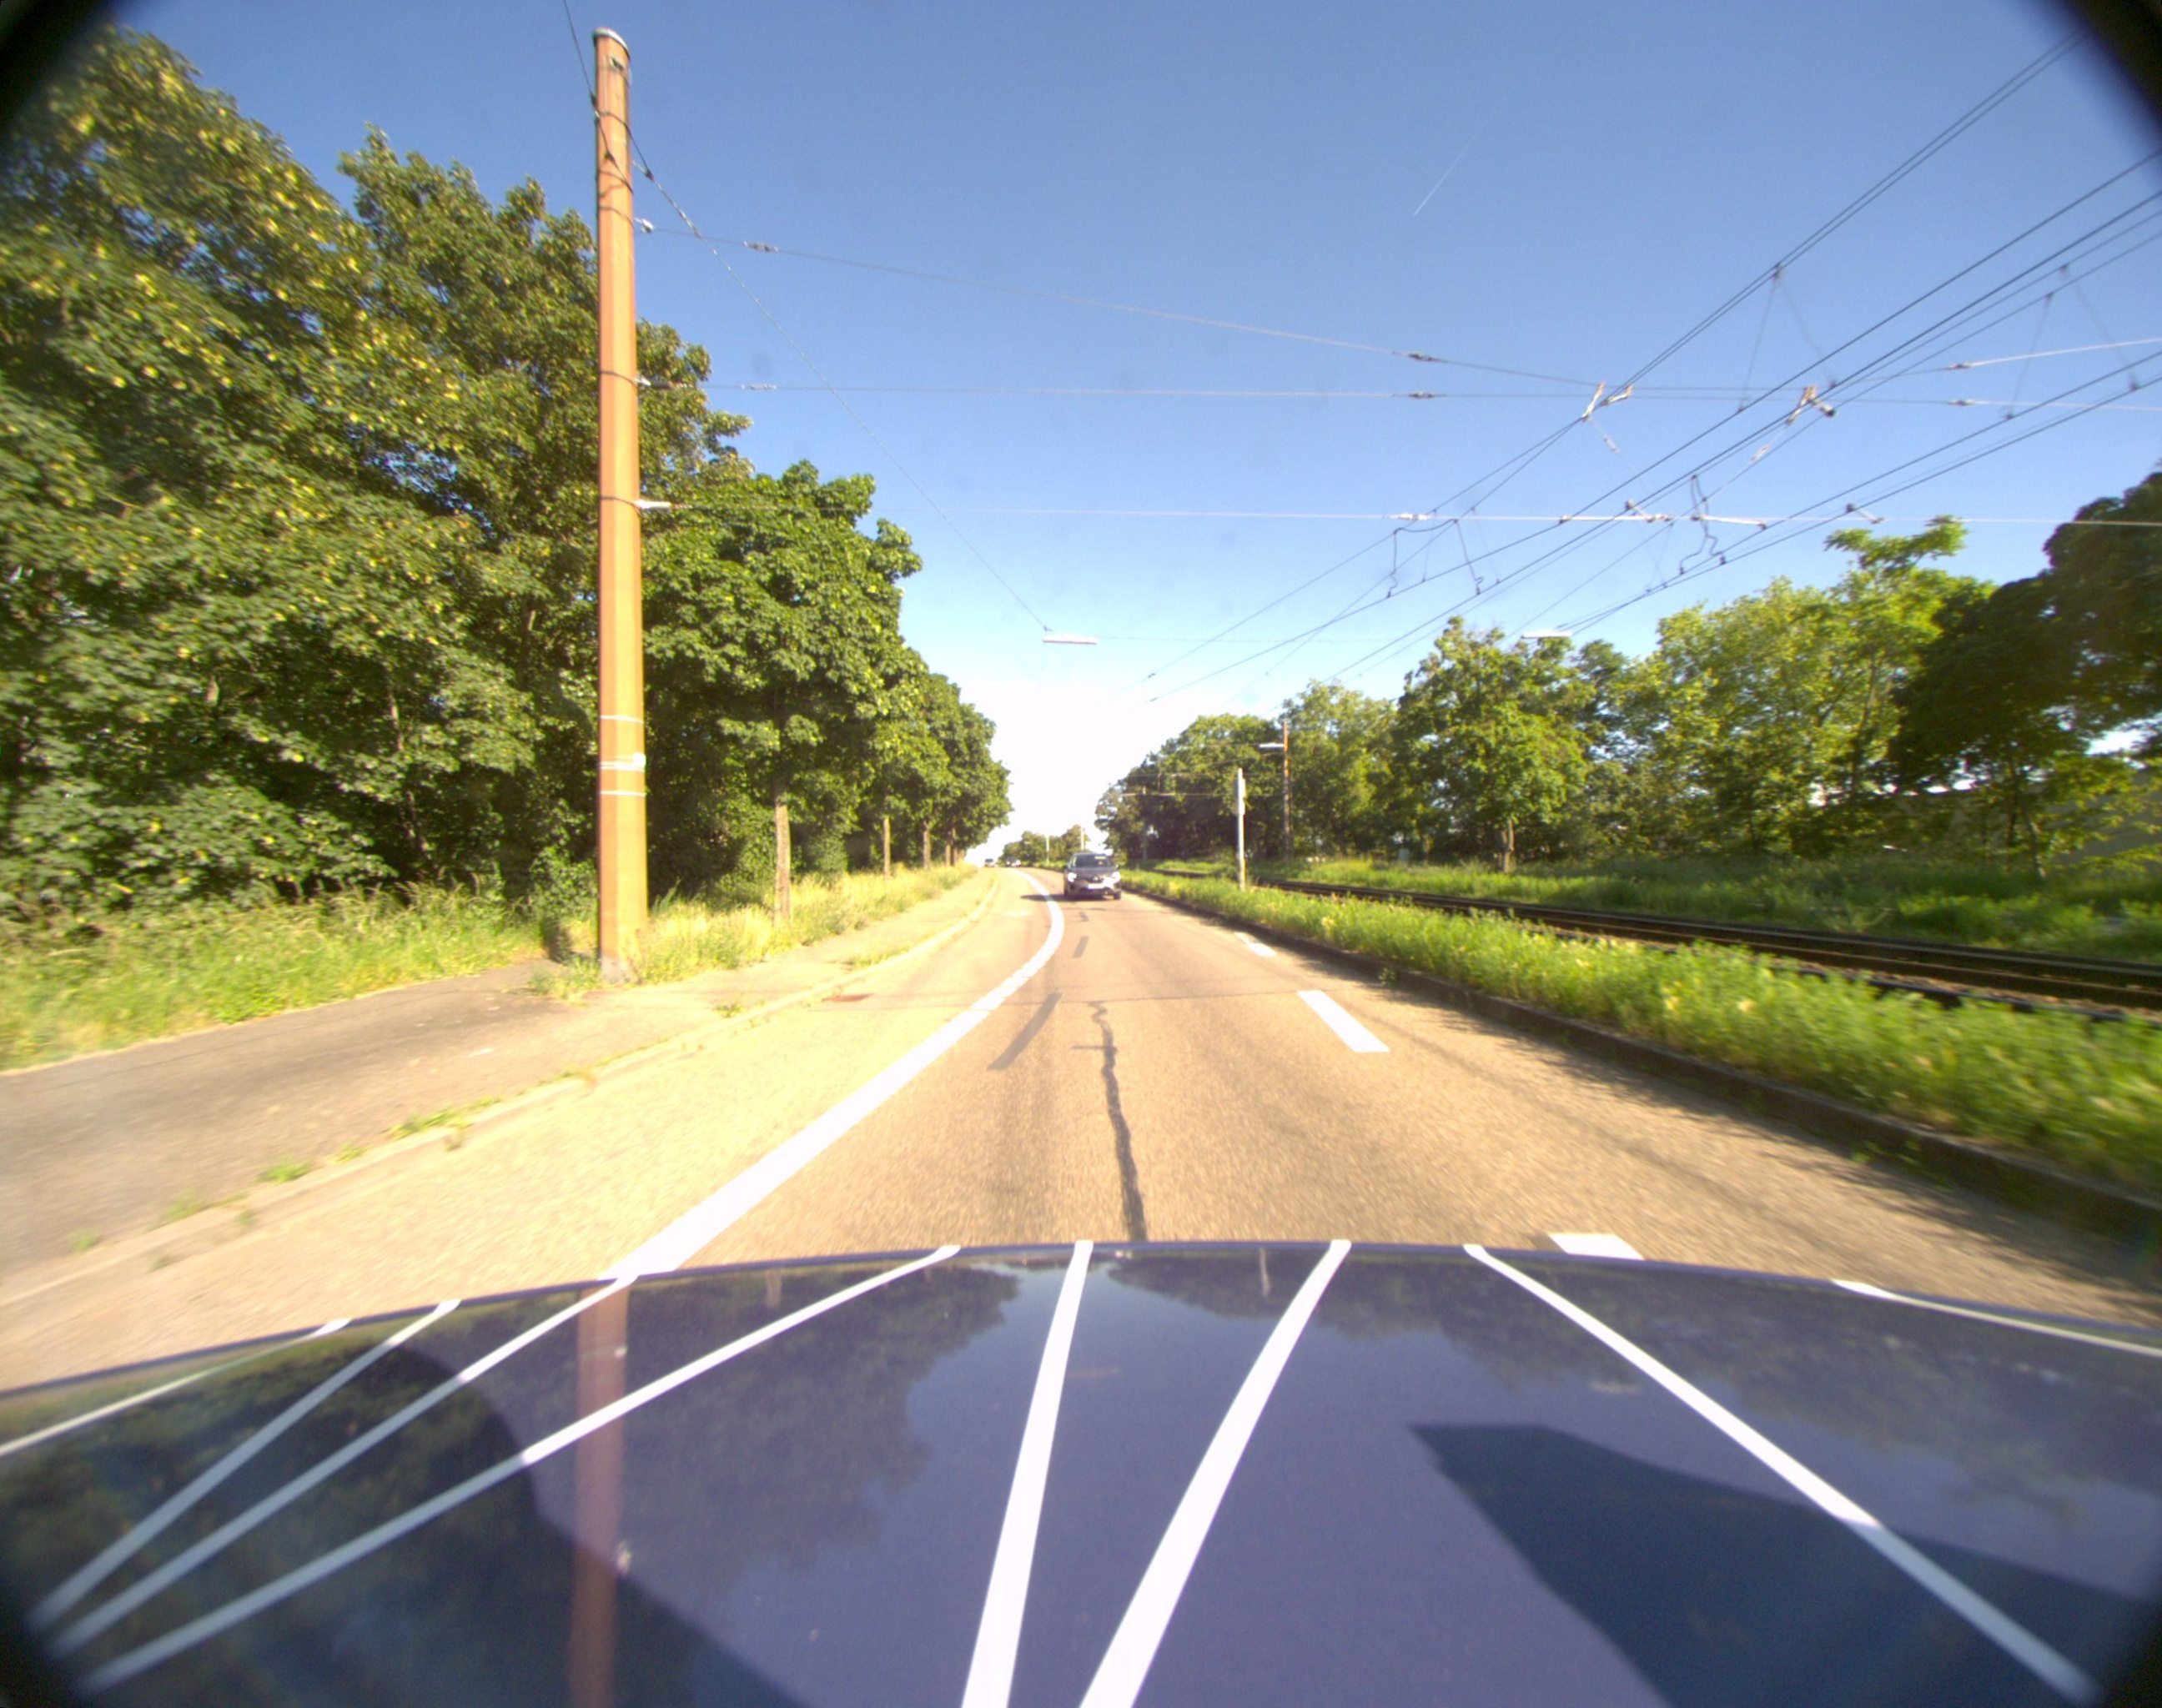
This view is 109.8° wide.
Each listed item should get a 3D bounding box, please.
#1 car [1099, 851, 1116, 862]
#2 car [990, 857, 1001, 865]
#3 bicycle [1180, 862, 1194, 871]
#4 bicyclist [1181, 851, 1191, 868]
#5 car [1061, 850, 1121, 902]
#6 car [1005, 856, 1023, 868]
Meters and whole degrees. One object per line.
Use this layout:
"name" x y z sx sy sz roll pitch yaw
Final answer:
"car" 3.861 0.379 111.401 1.716 1.471 3.997 -2 0 -9
"car" -18.936 1.513 168.154 2.001 1.577 3.995 -2 0 -13
"bicycle" 11.008 1.285 79.142 0.821 0.909 2.536 -2 0 -6
"bicyclist" 10.960 0.601 79.329 0.821 1.726 0.902 -2 1 -6
"car" 0.249 0.707 26.541 1.822 1.589 4.412 -2 0 -2
"car" -8.946 1.056 101.596 2.000 1.577 3.996 -2 0 -10
